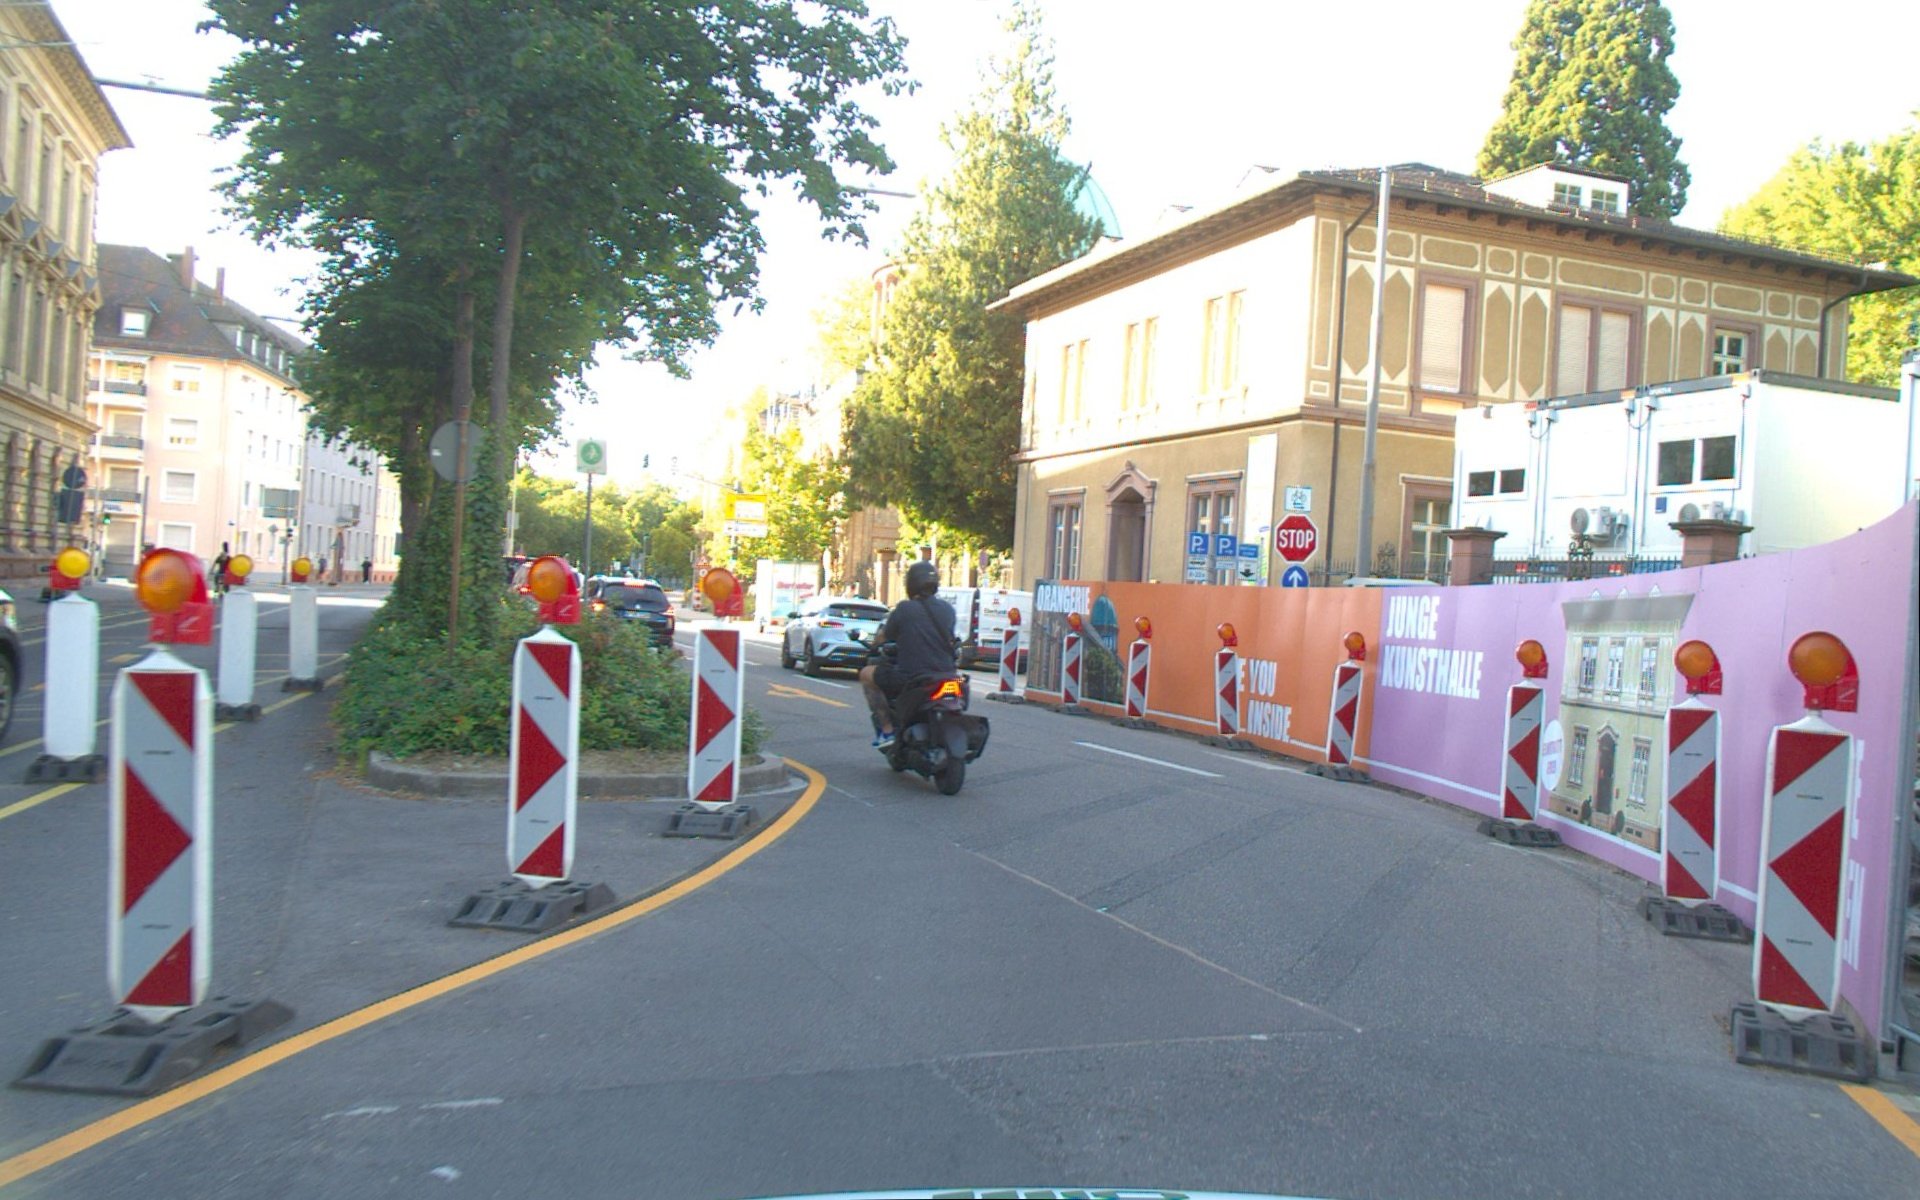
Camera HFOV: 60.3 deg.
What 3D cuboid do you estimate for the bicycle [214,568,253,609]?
[{"bbox_3d":[-22.256,-0.350,50.682,0.867,1.215,2.164,1,1,-18],"label":"bicycle"}]

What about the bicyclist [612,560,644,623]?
[{"bbox_3d":[-9.144,-0.237,45.563,0.662,1.681,0.883,5,-1,-18],"label":"bicyclist"}]

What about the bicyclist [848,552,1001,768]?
[{"bbox_3d":[-0.304,0.447,13.036,0.853,1.549,1.227,6,-1,-12],"label":"bicyclist"}]

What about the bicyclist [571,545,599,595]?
[{"bbox_3d":[-12.802,-1.021,56.460,0.790,1.636,0.821,4,0,-16],"label":"bicyclist"}]

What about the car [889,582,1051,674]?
[{"bbox_3d":[0.144,0.657,41.865,1.987,1.979,5.443,5,-1,-23],"label":"car"}]

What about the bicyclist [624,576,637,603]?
[{"bbox_3d":[-20.731,-0.675,104.105,0.625,1.642,1.279,5,0,-14],"label":"bicyclist"}]

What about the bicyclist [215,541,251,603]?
[{"bbox_3d":[-22.217,-0.862,50.561,0.867,1.866,1.279,1,0,-18],"label":"bicyclist"}]

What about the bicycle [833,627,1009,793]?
[{"bbox_3d":[-0.370,0.815,13.085,0.855,1.060,2.446,5,-1,-13],"label":"bicycle"}]

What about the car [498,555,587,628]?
[{"bbox_3d":[-11.506,-0.277,45.409,1.961,1.780,4.723,4,0,-18],"label":"car"}]

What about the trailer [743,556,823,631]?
[{"bbox_3d":[-6.501,-0.274,60.286,2.046,2.572,4.471,2,1,-17],"label":"trailer"}]

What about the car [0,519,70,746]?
[{"bbox_3d":[-7.912,0.222,11.115,1.842,1.699,4.647,3,0,-8],"label":"car"}]

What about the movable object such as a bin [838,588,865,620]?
[{"bbox_3d":[-4.073,0.145,61.877,0.701,1.137,1.045,2,1,-20],"label":"movable object such as a bin"}]

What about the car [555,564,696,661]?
[{"bbox_3d":[-6.821,0.202,33.340,1.965,1.686,4.708,4,0,-21],"label":"car"}]

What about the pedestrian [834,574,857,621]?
[{"bbox_3d":[-4.343,-0.100,62.723,0.672,1.731,0.690,3,0,-19],"label":"pedestrian"}]

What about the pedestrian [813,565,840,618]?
[{"bbox_3d":[-5.026,-0.329,62.258,0.705,1.927,0.884,3,1,-21],"label":"pedestrian"}]

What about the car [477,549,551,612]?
[{"bbox_3d":[-15.357,-0.668,56.819,2.037,1.949,5.006,4,0,-19],"label":"car"}]

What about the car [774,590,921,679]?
[{"bbox_3d":[-2.232,0.617,31.657,1.961,1.478,3.983,3,0,-16],"label":"car"}]

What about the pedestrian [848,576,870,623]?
[{"bbox_3d":[-3.978,-0.034,65.294,0.629,1.799,0.734,4,0,-15],"label":"pedestrian"}]

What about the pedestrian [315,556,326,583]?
[{"bbox_3d":[-40.700,-1.933,105.232,0.472,1.686,0.471,3,0,-14],"label":"pedestrian"}]

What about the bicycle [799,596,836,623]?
[{"bbox_3d":[-5.966,0.409,69.329,1.443,1.057,0.476,3,0,-19],"label":"bicycle"}]

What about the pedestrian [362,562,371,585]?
[{"bbox_3d":[-42.784,-1.911,119.209,0.472,1.686,0.471,3,0,-14],"label":"pedestrian"}]
